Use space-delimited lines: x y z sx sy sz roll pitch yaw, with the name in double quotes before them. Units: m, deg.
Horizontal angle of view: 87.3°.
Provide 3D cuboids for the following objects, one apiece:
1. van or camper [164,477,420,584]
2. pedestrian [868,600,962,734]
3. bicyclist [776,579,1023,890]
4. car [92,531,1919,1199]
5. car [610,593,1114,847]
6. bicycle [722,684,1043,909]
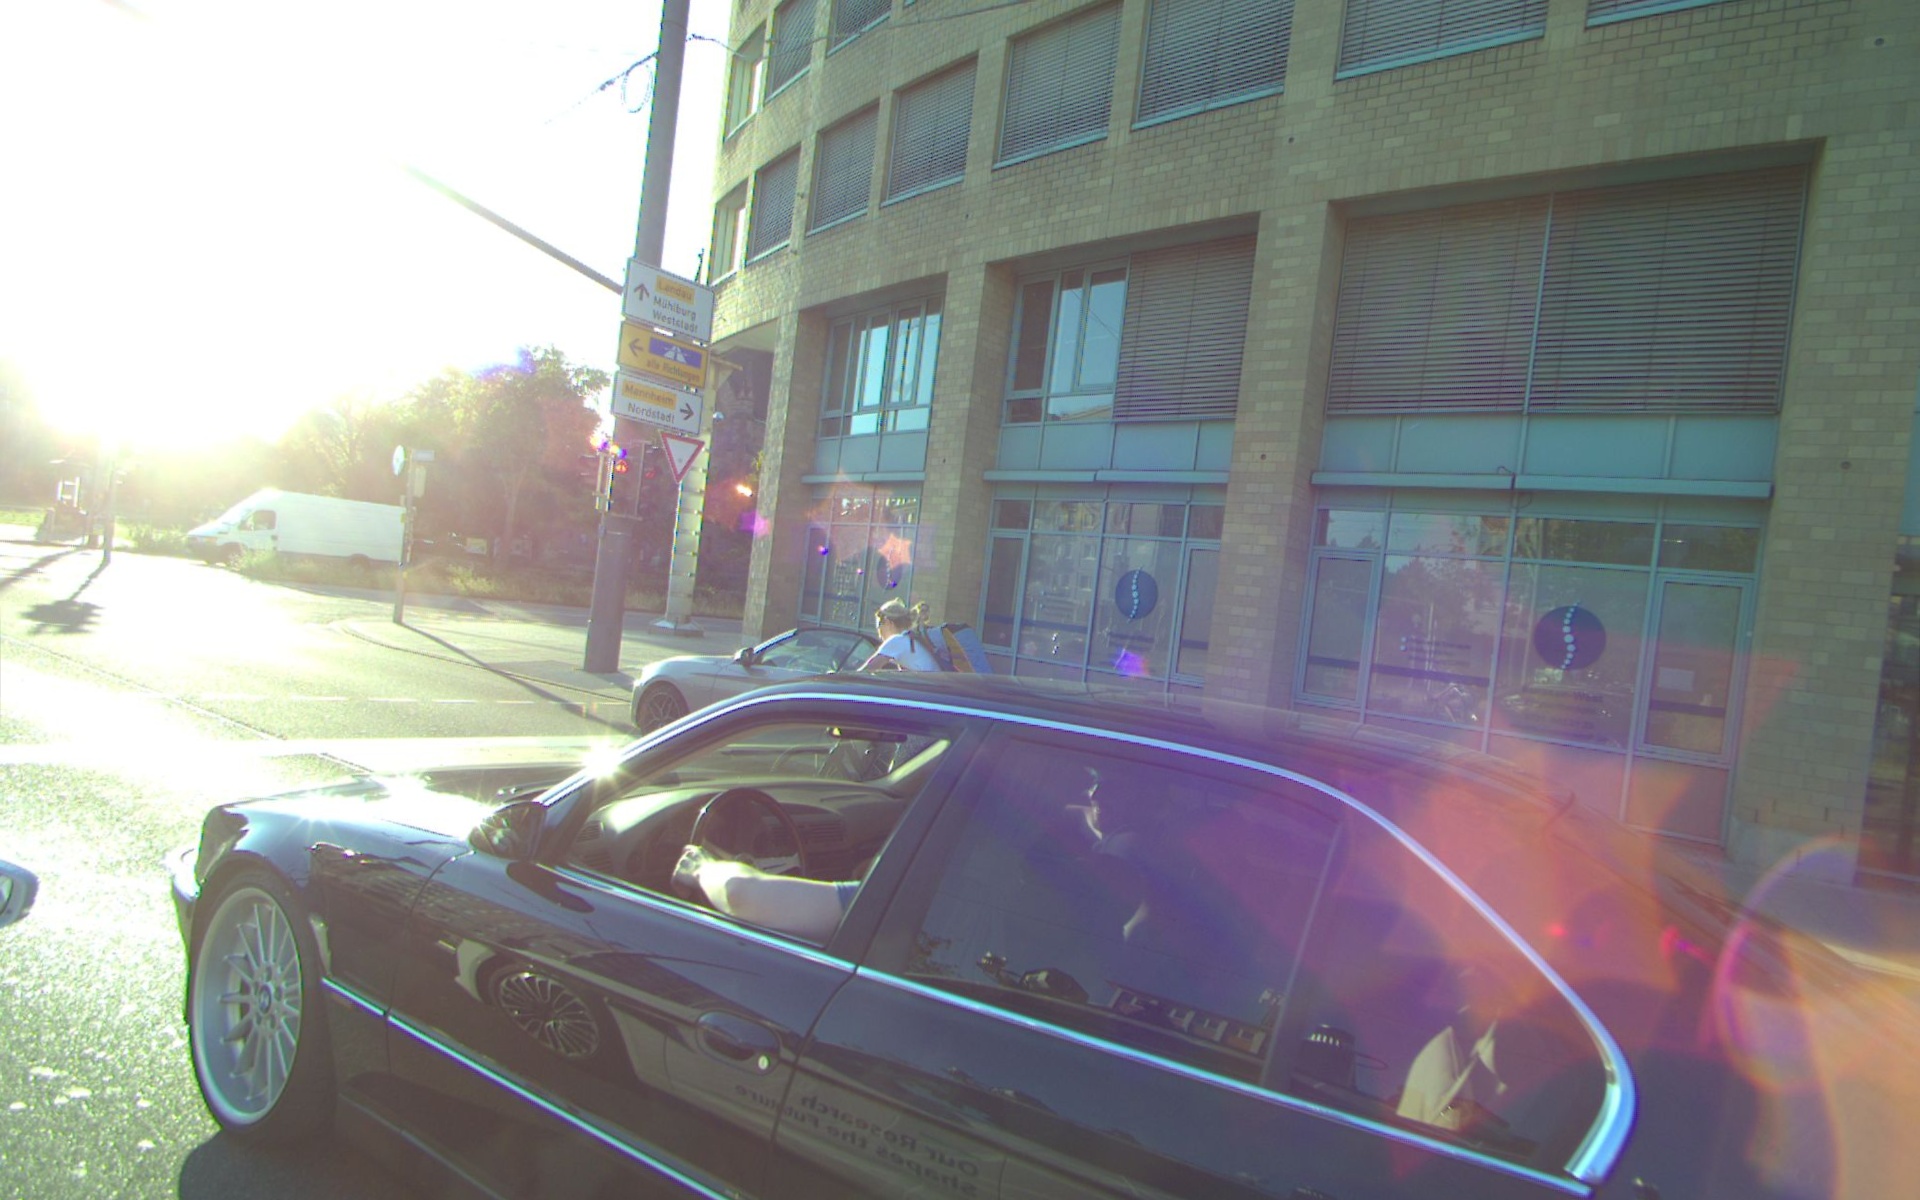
"van or camper" -23.690 -2.385 36.106 2.556 2.708 7.048 9 1 33
"pedestrian" -0.575 0.855 13.047 0.786 1.589 0.678 9 2 29
"bicyclist" -0.335 0.712 5.671 1.020 1.500 0.657 7 -1 29
"car" 0.035 0.835 2.436 4.563 1.370 1.833 8 -1 31
"car" -0.975 0.935 9.107 4.195 1.370 1.786 8 -1 32
"bicycle" -0.467 1.040 5.672 1.746 0.965 0.516 3 -3 29
